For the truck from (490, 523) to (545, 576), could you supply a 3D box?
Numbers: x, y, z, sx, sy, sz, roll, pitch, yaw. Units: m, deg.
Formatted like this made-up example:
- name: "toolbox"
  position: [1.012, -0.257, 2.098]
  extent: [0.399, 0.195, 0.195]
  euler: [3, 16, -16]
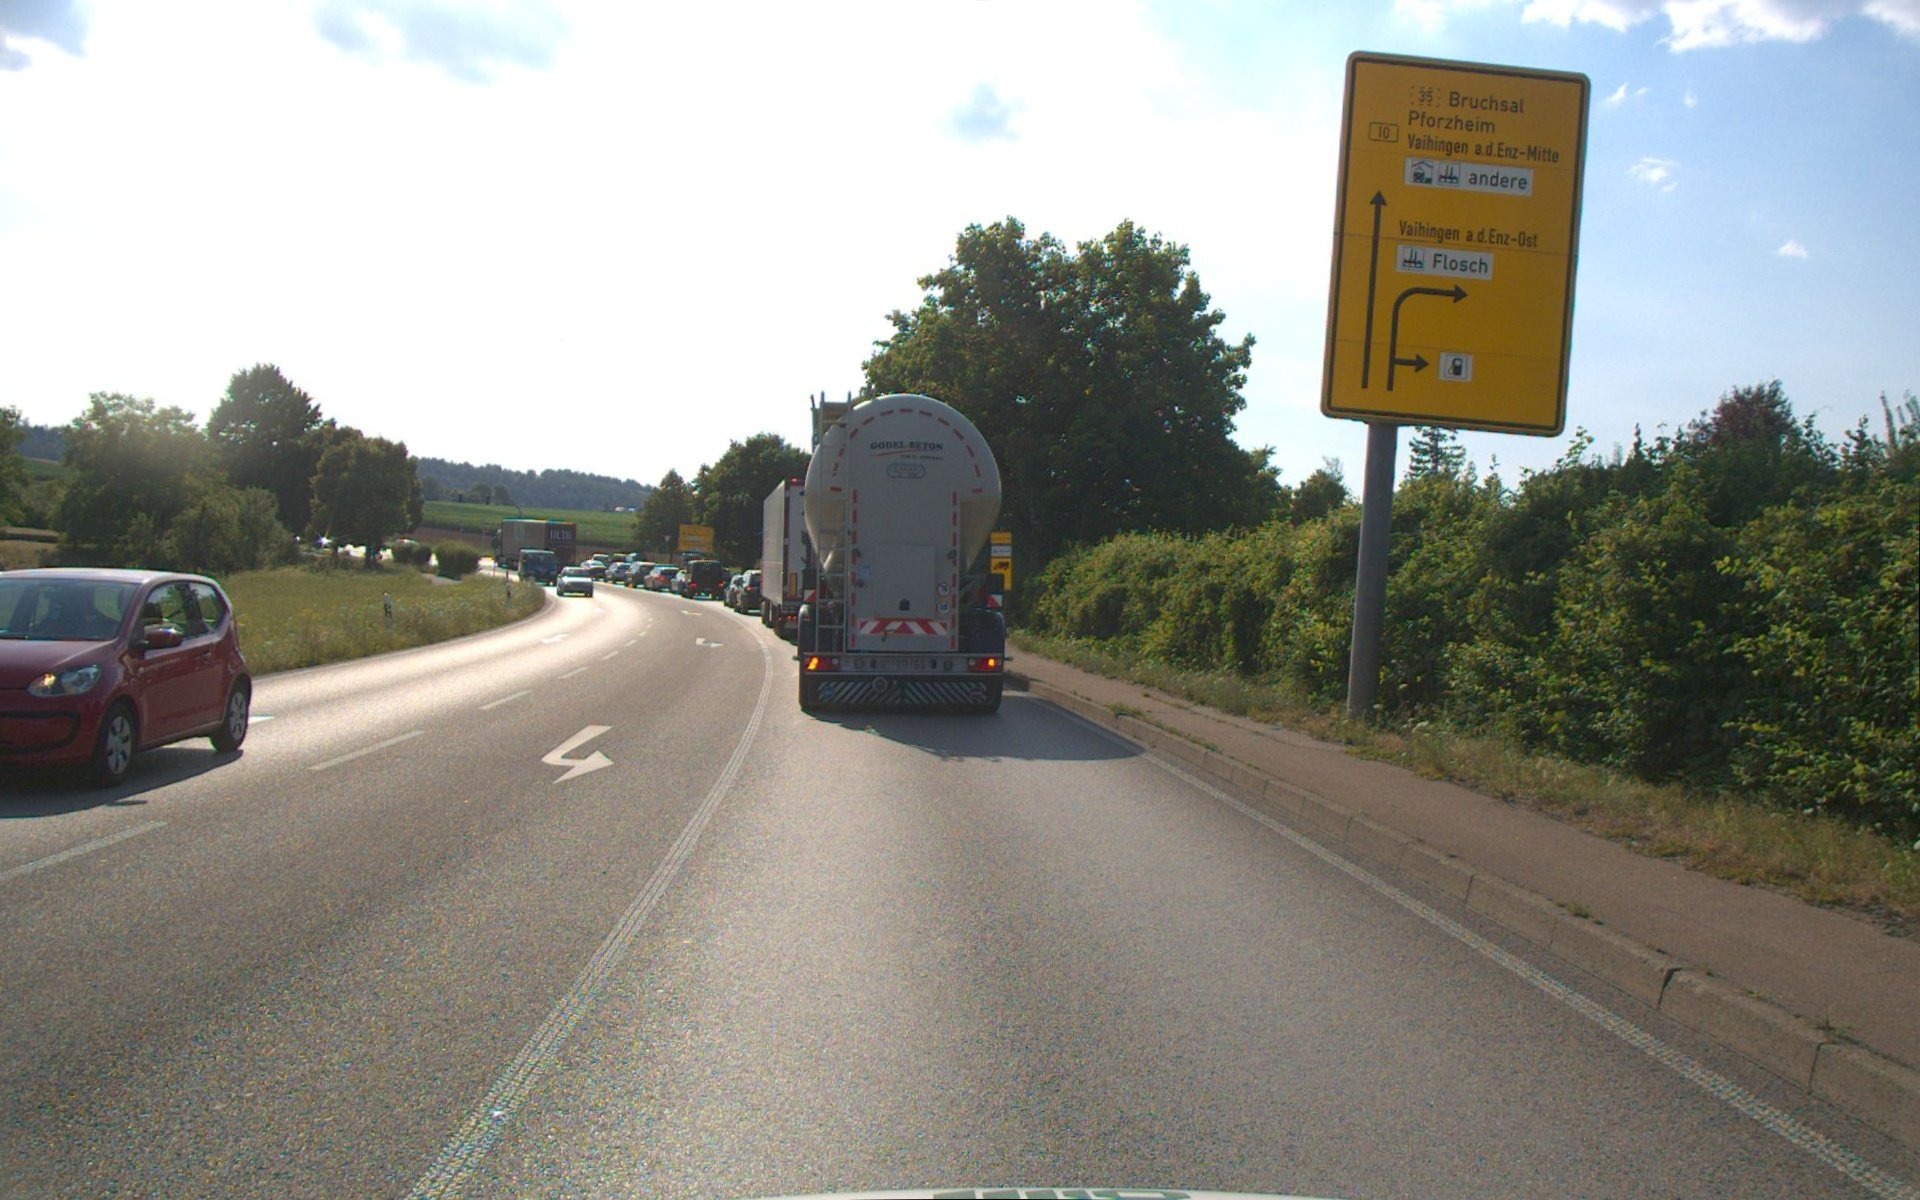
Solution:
- name: "truck"
  position: [-39.000, -4.467, 145.592]
  extent: [3.337, 4.426, 5.654]
  euler: [2, 1, -28]

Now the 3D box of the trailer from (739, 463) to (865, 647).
- name: "trailer"
  position: [-4.459, -1.191, 47.688]
  extent: [2.897, 4.390, 14.162]
  euler: [2, 1, -5]

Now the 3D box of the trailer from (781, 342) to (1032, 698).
- name: "trailer"
  position: [-1.037, -0.970, 24.210]
  extent: [2.853, 4.076, 9.920]
  euler: [1, 0, -5]

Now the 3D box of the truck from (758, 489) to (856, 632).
- name: "truck"
  position: [-5.025, -1.288, 54.600]
  extent: [2.894, 4.377, 4.926]
  euler: [2, 0, -5]

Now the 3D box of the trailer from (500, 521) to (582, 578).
- name: "trailer"
  position: [-35.190, -4.245, 138.337]
  extent: [3.337, 4.426, 14.165]
  euler: [2, 1, -28]

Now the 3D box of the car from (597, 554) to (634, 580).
- name: "car"
  position: [-29.275, -2.800, 140.397]
  extent: [1.971, 2.048, 3.964]
  euler: [1, 2, -28]

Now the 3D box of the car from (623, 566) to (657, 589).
- name: "car"
  position: [-20.826, -1.471, 107.540]
  extent: [1.558, 1.364, 3.403]
  euler: [2, 1, -22]

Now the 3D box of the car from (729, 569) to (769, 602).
- name: "car"
  position: [-9.410, -0.645, 73.693]
  extent: [1.552, 1.364, 3.417]
  euler: [2, 1, -10]

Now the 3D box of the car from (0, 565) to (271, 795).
- name: "car"
  position: [-6.591, 0.500, 12.494]
  extent: [1.555, 1.492, 3.603]
  euler: [0, 1, -6]

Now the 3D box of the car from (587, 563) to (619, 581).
- name: "car"
  position: [-26.312, -2.099, 121.825]
  extent: [1.745, 1.226, 3.403]
  euler: [2, 1, -22]

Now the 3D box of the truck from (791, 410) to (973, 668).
- name: "truck"
  position: [-1.424, -0.995, 28.610]
  extent: [2.853, 4.076, 4.055]
  euler: [1, 0, -5]

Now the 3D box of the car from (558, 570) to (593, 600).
- name: "car"
  position: [-19.629, -0.777, 84.540]
  extent: [1.677, 1.453, 4.165]
  euler: [2, 0, -12]

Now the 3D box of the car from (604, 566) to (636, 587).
- name: "car"
  position: [-23.709, -1.675, 115.338]
  extent: [1.558, 1.364, 3.403]
  euler: [2, 1, -22]

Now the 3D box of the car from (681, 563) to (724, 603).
- name: "car"
  position: [-13.653, -0.914, 87.630]
  extent: [1.831, 2.049, 3.704]
  euler: [1, 1, -15]

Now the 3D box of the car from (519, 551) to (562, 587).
- name: "car"
  position: [-26.641, -1.952, 104.832]
  extent: [1.970, 2.174, 4.747]
  euler: [1, 0, -22]

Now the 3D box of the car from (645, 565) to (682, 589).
- name: "car"
  position: [-18.238, -1.453, 101.682]
  extent: [1.558, 1.364, 3.403]
  euler: [2, 1, -22]

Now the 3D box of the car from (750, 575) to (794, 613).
- name: "car"
  position: [-7.470, -0.256, 65.525]
  extent: [1.551, 1.364, 3.419]
  euler: [2, 1, -8]
